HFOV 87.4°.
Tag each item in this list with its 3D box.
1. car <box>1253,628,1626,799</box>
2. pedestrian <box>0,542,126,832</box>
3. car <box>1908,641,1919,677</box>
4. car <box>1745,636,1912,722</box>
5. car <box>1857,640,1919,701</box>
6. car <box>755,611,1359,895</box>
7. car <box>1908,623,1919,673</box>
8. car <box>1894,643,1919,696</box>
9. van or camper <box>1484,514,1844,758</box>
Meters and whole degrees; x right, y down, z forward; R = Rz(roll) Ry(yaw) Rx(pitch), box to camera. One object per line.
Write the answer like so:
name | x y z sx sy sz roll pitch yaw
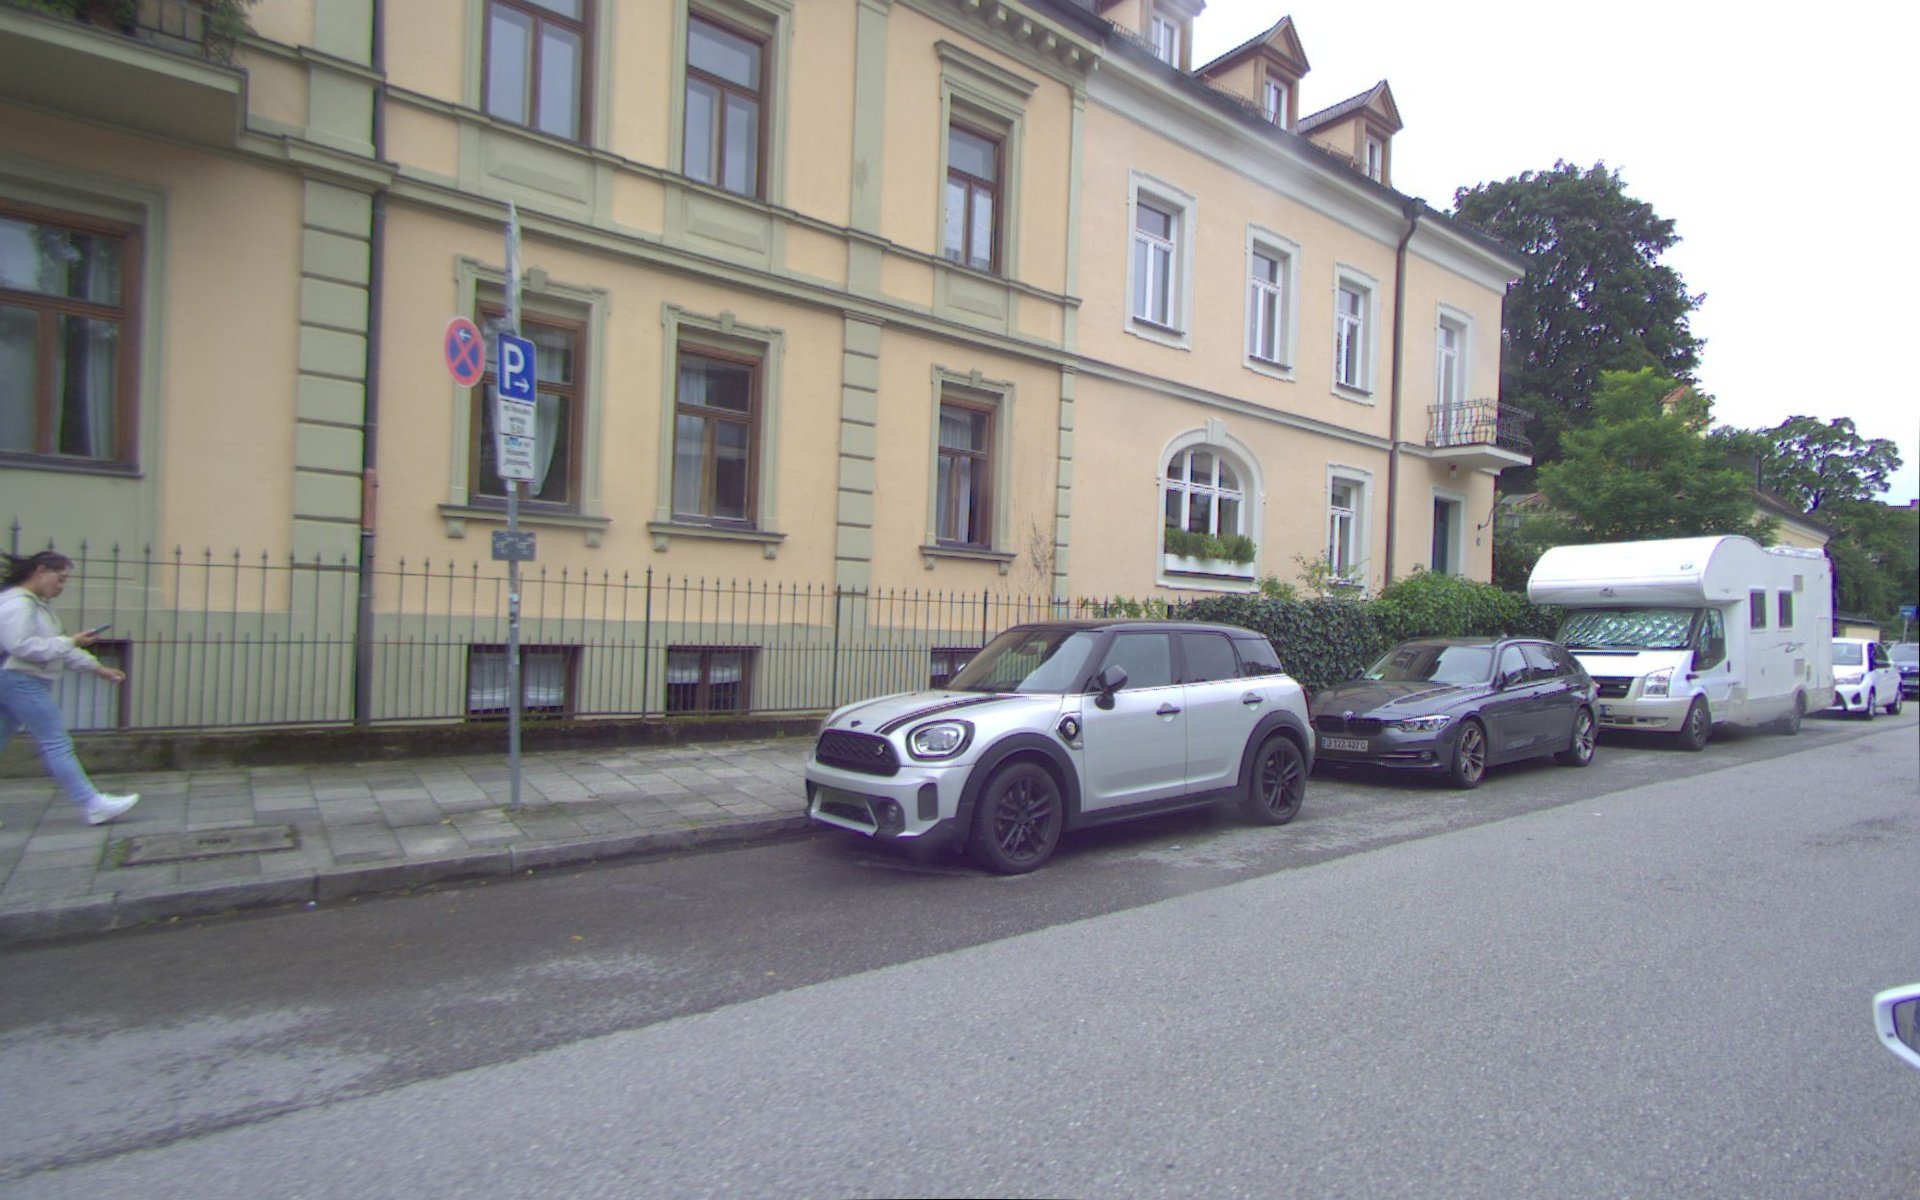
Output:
car | 5.505 1.118 11.242 4.781 1.528 1.920 2 -3 -39
pedestrian | -5.477 0.484 5.933 0.732 1.625 0.649 2 1 -33
car | 43.956 2.648 43.316 4.278 1.550 1.926 1 -2 39
car | 17.438 1.520 20.115 4.191 1.555 1.765 2 -3 -38
car | 26.042 1.894 27.222 4.402 1.555 1.831 3 -4 -38
car | 0.917 0.938 7.665 4.489 1.555 1.922 2 -3 -37
car | 51.638 2.494 51.006 4.545 2.597 2.235 1 -1 19
car | 29.790 2.068 30.181 4.481 1.555 1.831 2 -3 -38
van or camper | 10.986 0.572 15.391 7.144 2.979 2.438 2 -2 -37
